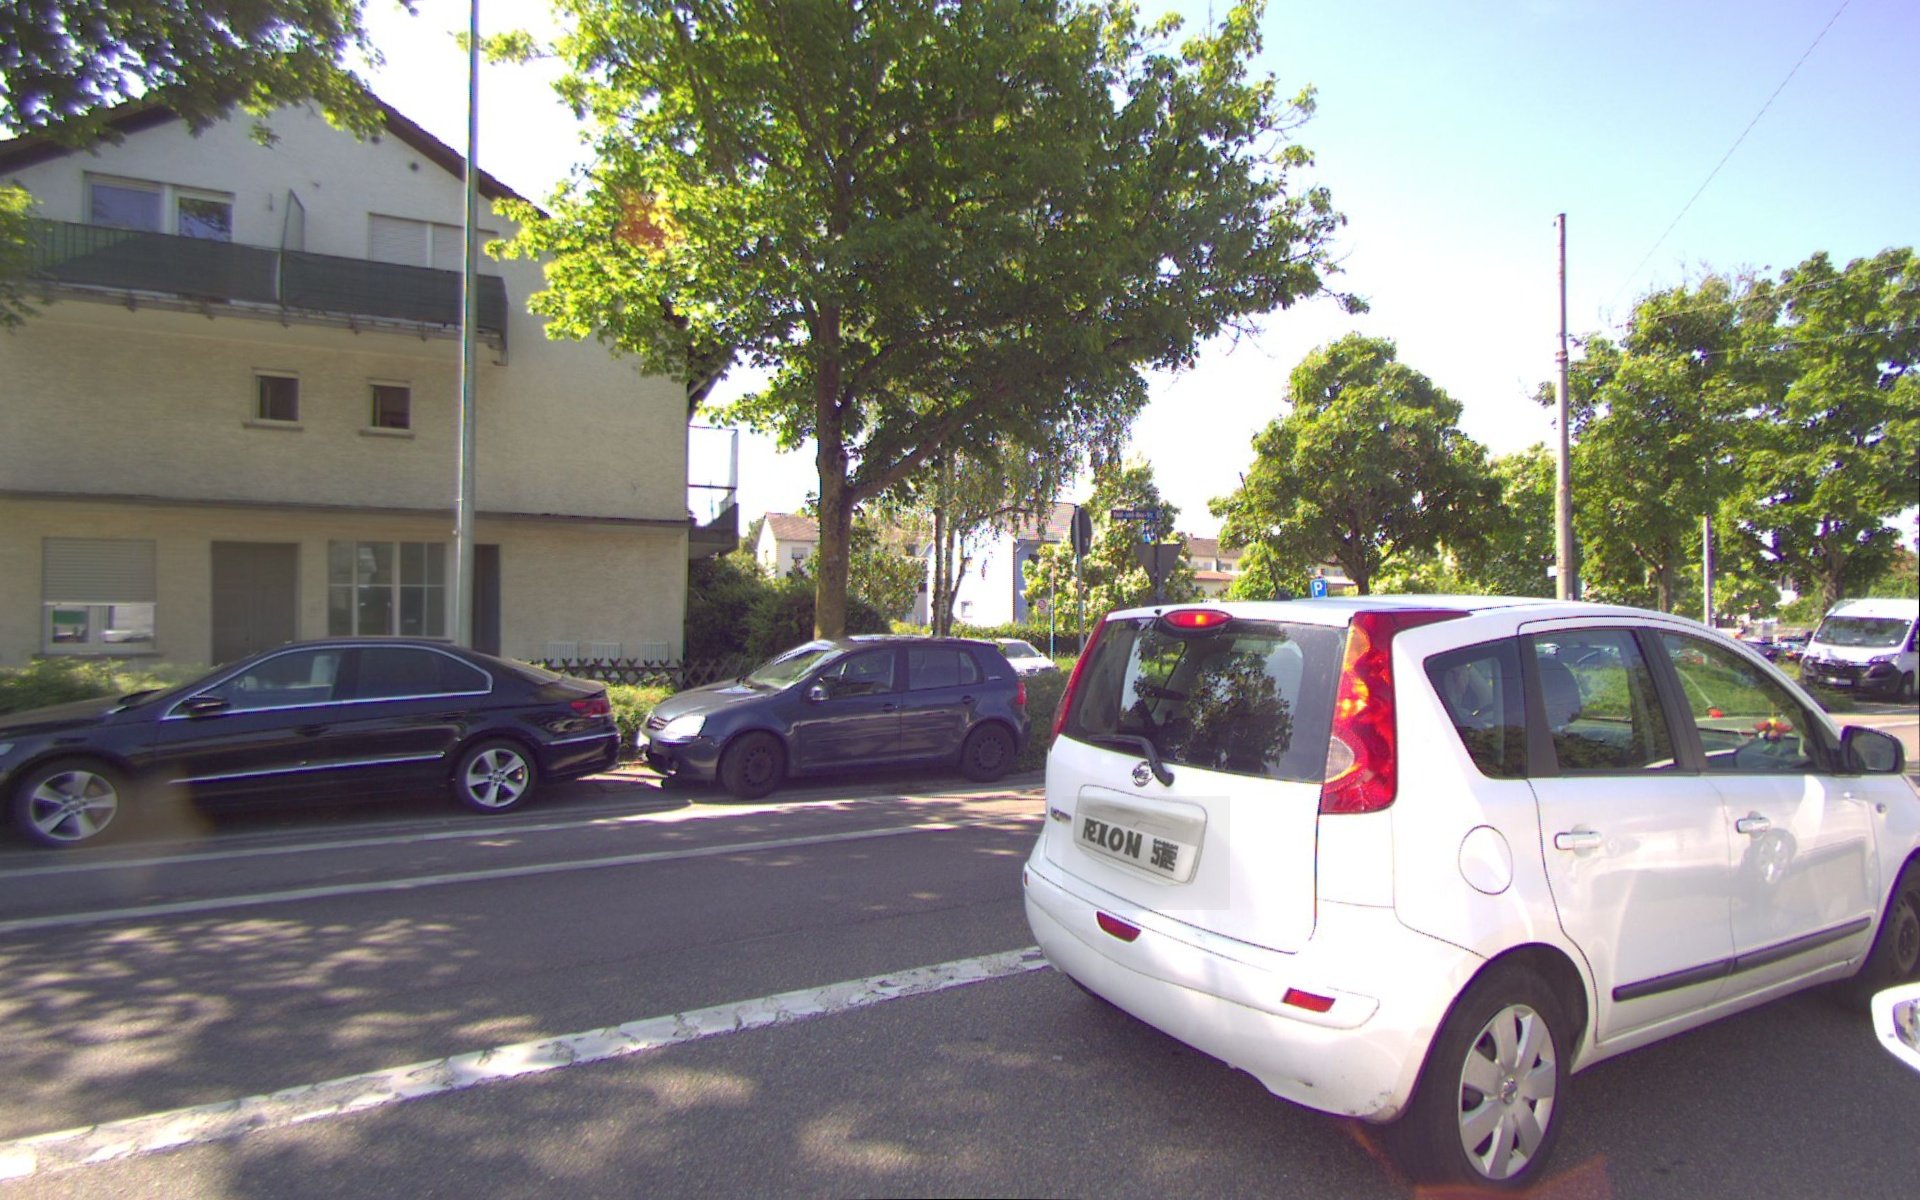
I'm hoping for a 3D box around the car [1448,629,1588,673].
[{"bbox_3d":[19.576,1.800,35.363,1.712,1.434,3.964,2,-4,-34],"label":"car"}]

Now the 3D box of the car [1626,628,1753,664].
[{"bbox_3d":[30.637,1.939,42.309,1.712,1.434,3.964,2,-4,-34],"label":"car"}]

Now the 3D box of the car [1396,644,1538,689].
[{"bbox_3d":[17.091,2.234,34.041,1.712,1.434,3.964,2,-4,-34],"label":"car"}]

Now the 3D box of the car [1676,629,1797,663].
[{"bbox_3d":[34.835,2.089,45.162,1.712,1.434,3.964,2,-4,-34],"label":"car"}]

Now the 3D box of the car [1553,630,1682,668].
[{"bbox_3d":[26.275,1.975,40.269,1.712,1.434,3.964,2,-4,-34],"label":"car"}]

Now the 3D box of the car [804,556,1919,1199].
[{"bbox_3d":[1.832,0.733,3.713,4.494,1.568,1.654,1,-1,-31],"label":"car"}]

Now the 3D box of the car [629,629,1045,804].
[{"bbox_3d":[-1.257,1.074,10.547,3.989,1.462,1.718,1,1,-28],"label":"car"}]

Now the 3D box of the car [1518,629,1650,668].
[{"bbox_3d":[24.086,1.883,38.898,1.712,1.434,3.964,2,-4,-34],"label":"car"}]

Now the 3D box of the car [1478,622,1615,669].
[{"bbox_3d":[21.369,1.676,36.756,1.712,1.631,3.964,2,-4,-34],"label":"car"}]

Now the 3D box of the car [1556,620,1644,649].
[{"bbox_3d":[44.324,2.385,69.643,2.043,1.811,4.762,1,0,-34],"label":"car"}]

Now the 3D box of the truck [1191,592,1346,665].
[{"bbox_3d":[14.267,1.230,47.069,2.647,3.152,6.966,1,0,-31],"label":"truck"}]

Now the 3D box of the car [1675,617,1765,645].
[{"bbox_3d":[54.234,2.215,71.779,2.043,1.811,4.762,1,0,-34],"label":"car"}]

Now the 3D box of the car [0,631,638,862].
[{"bbox_3d":[-5.246,1.024,8.404,4.568,1.434,1.854,1,1,-31],"label":"car"}]

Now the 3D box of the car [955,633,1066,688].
[{"bbox_3d":[1.346,1.710,28.572,1.704,1.434,3.982,1,-3,-21],"label":"car"}]

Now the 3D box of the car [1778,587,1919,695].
[{"bbox_3d":[23.779,0.987,25.939,5.745,2.550,2.114,1,1,-29],"label":"car"}]

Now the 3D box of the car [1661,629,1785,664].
[{"bbox_3d":[33.083,2.024,43.646,1.712,1.434,3.964,2,-4,-34],"label":"car"}]

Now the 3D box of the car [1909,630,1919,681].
[{"bbox_3d":[29.363,1.599,28.936,4.230,1.434,1.854,1,1,-31],"label":"car"}]

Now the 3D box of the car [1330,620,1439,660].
[{"bbox_3d":[21.485,1.971,50.968,2.043,1.811,4.762,1,0,-34],"label":"car"}]

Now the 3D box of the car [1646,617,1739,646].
[{"bbox_3d":[50.243,2.122,68.972,2.043,1.811,4.762,1,0,-34],"label":"car"}]

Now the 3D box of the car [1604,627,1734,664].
[{"bbox_3d":[28.791,1.864,40.908,1.712,1.434,3.964,2,-4,-34],"label":"car"}]
